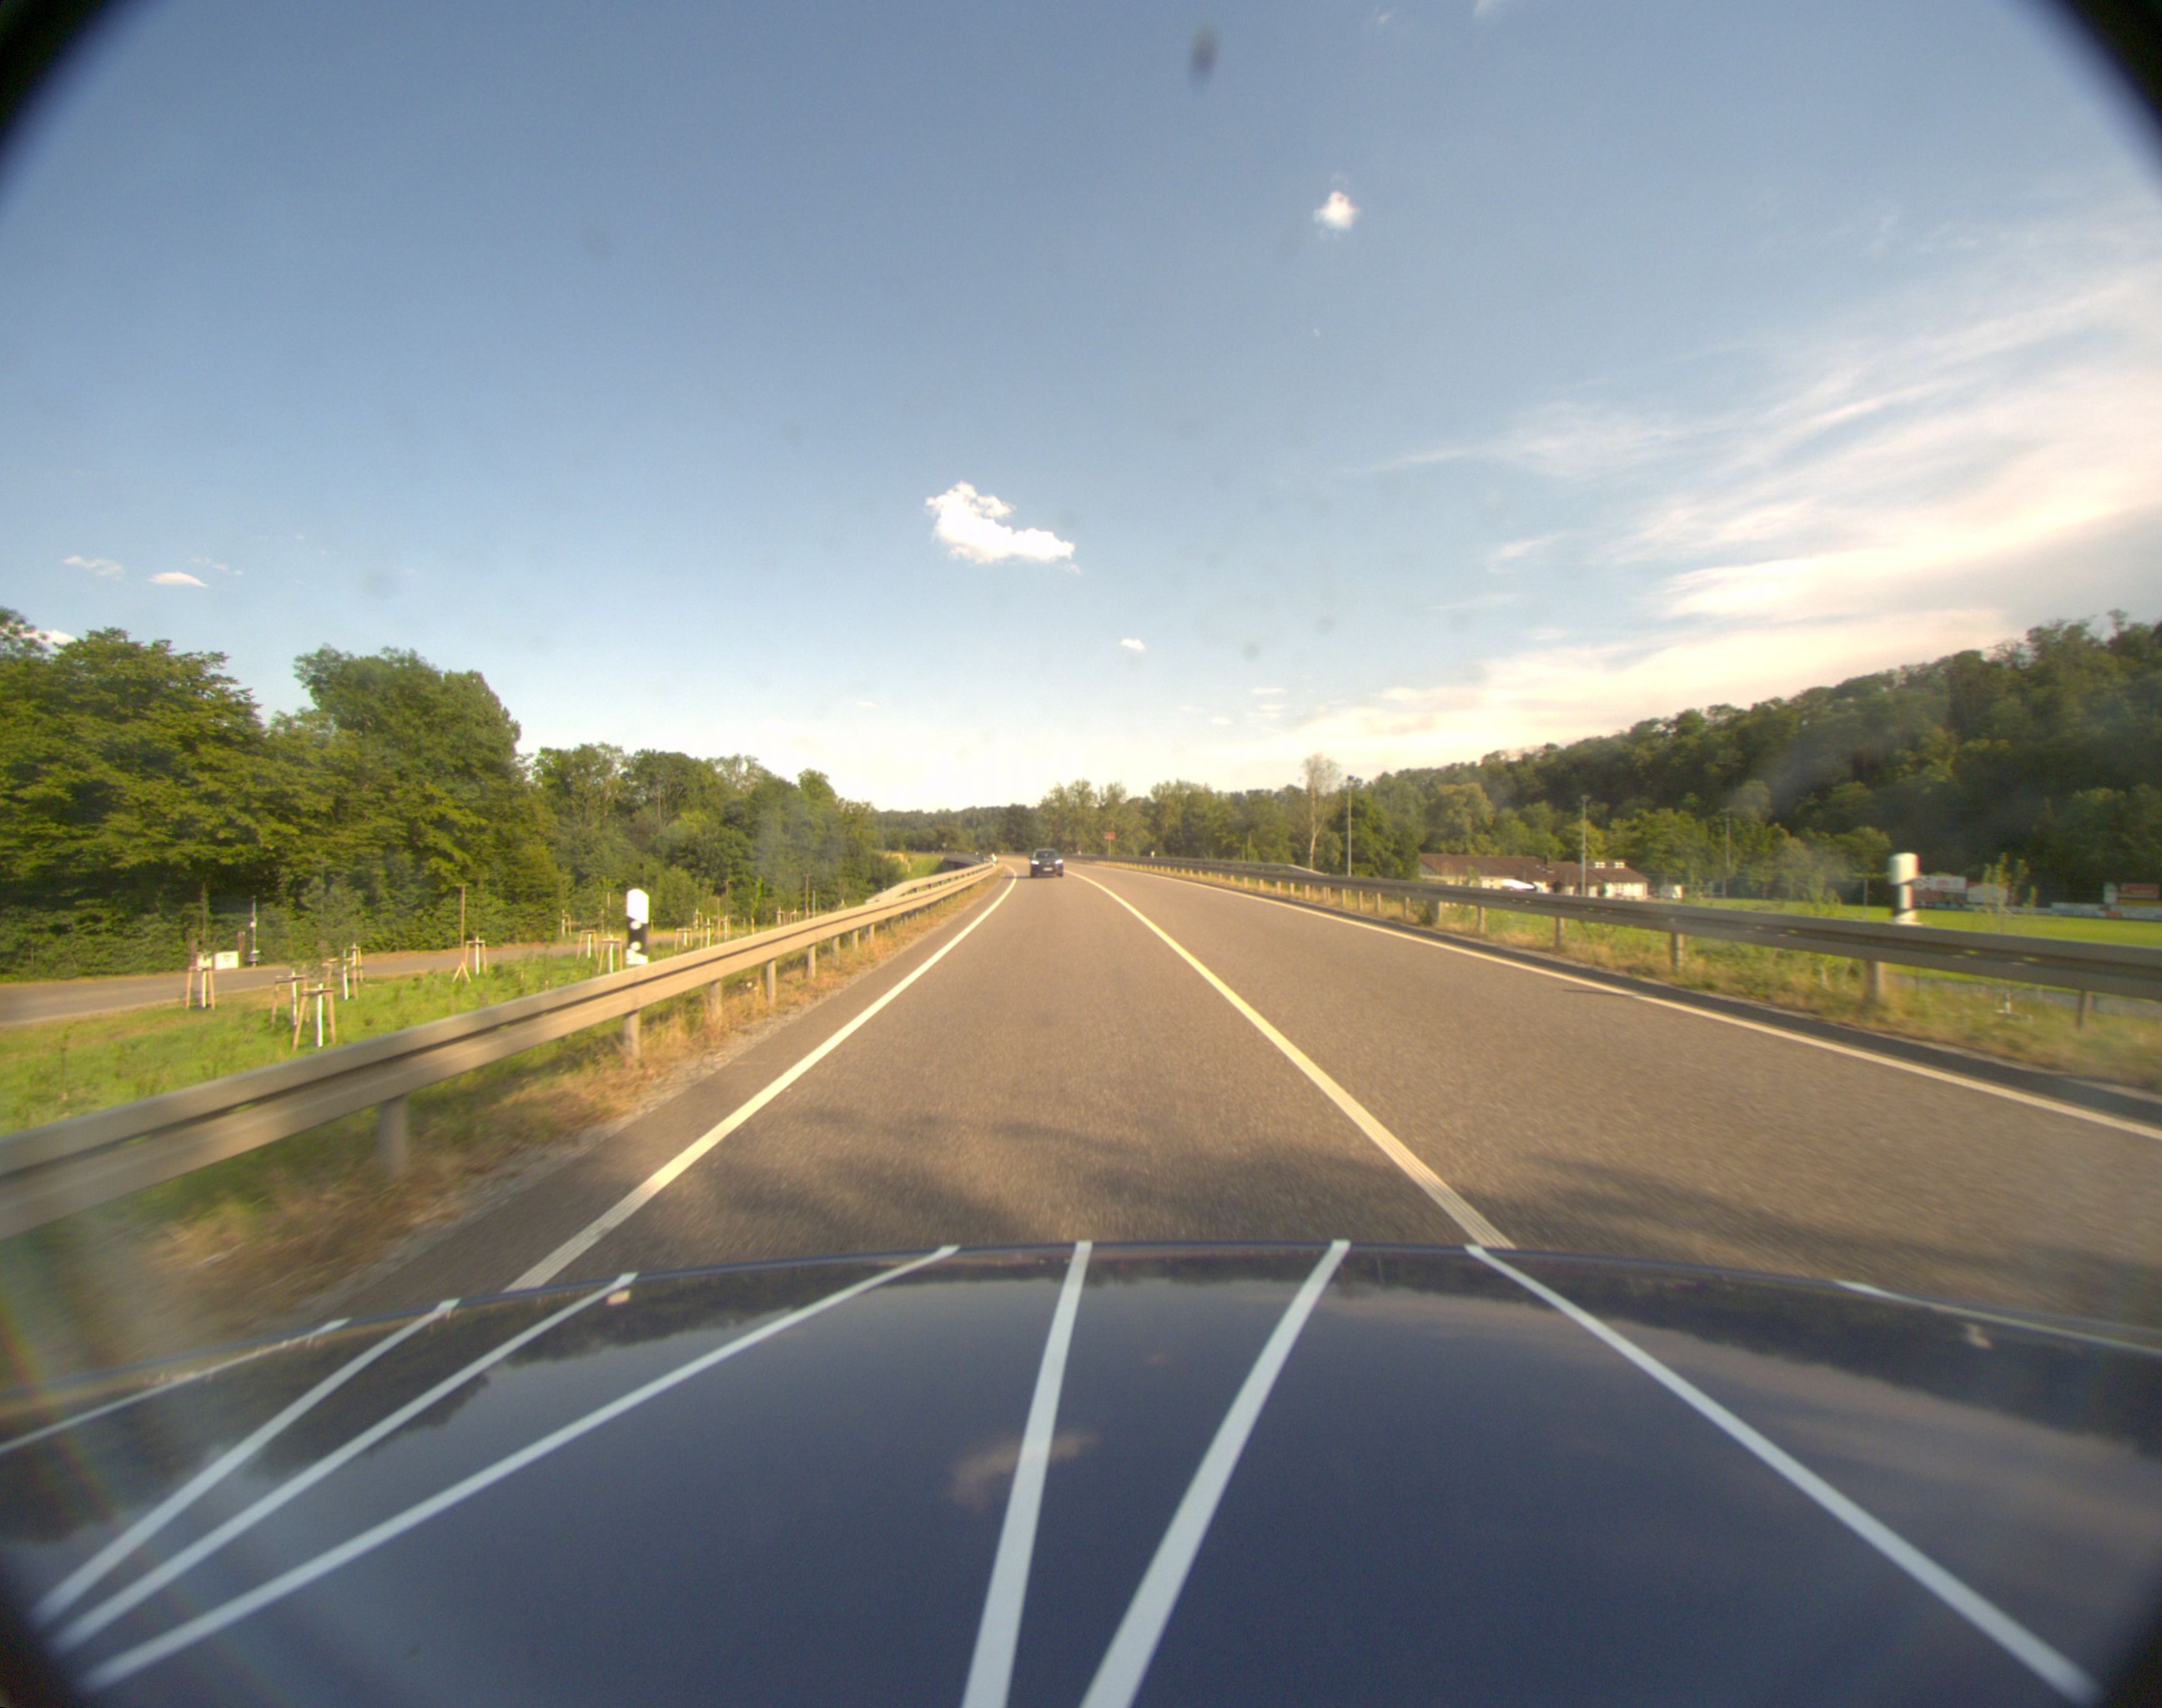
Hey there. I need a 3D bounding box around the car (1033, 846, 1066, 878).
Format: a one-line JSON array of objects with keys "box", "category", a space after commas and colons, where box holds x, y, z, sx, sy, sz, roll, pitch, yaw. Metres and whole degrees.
[{"box": [-1.856, 0.430, 43.900, 1.751, 1.645, 4.303, -1, 2, -4], "category": "car"}]
